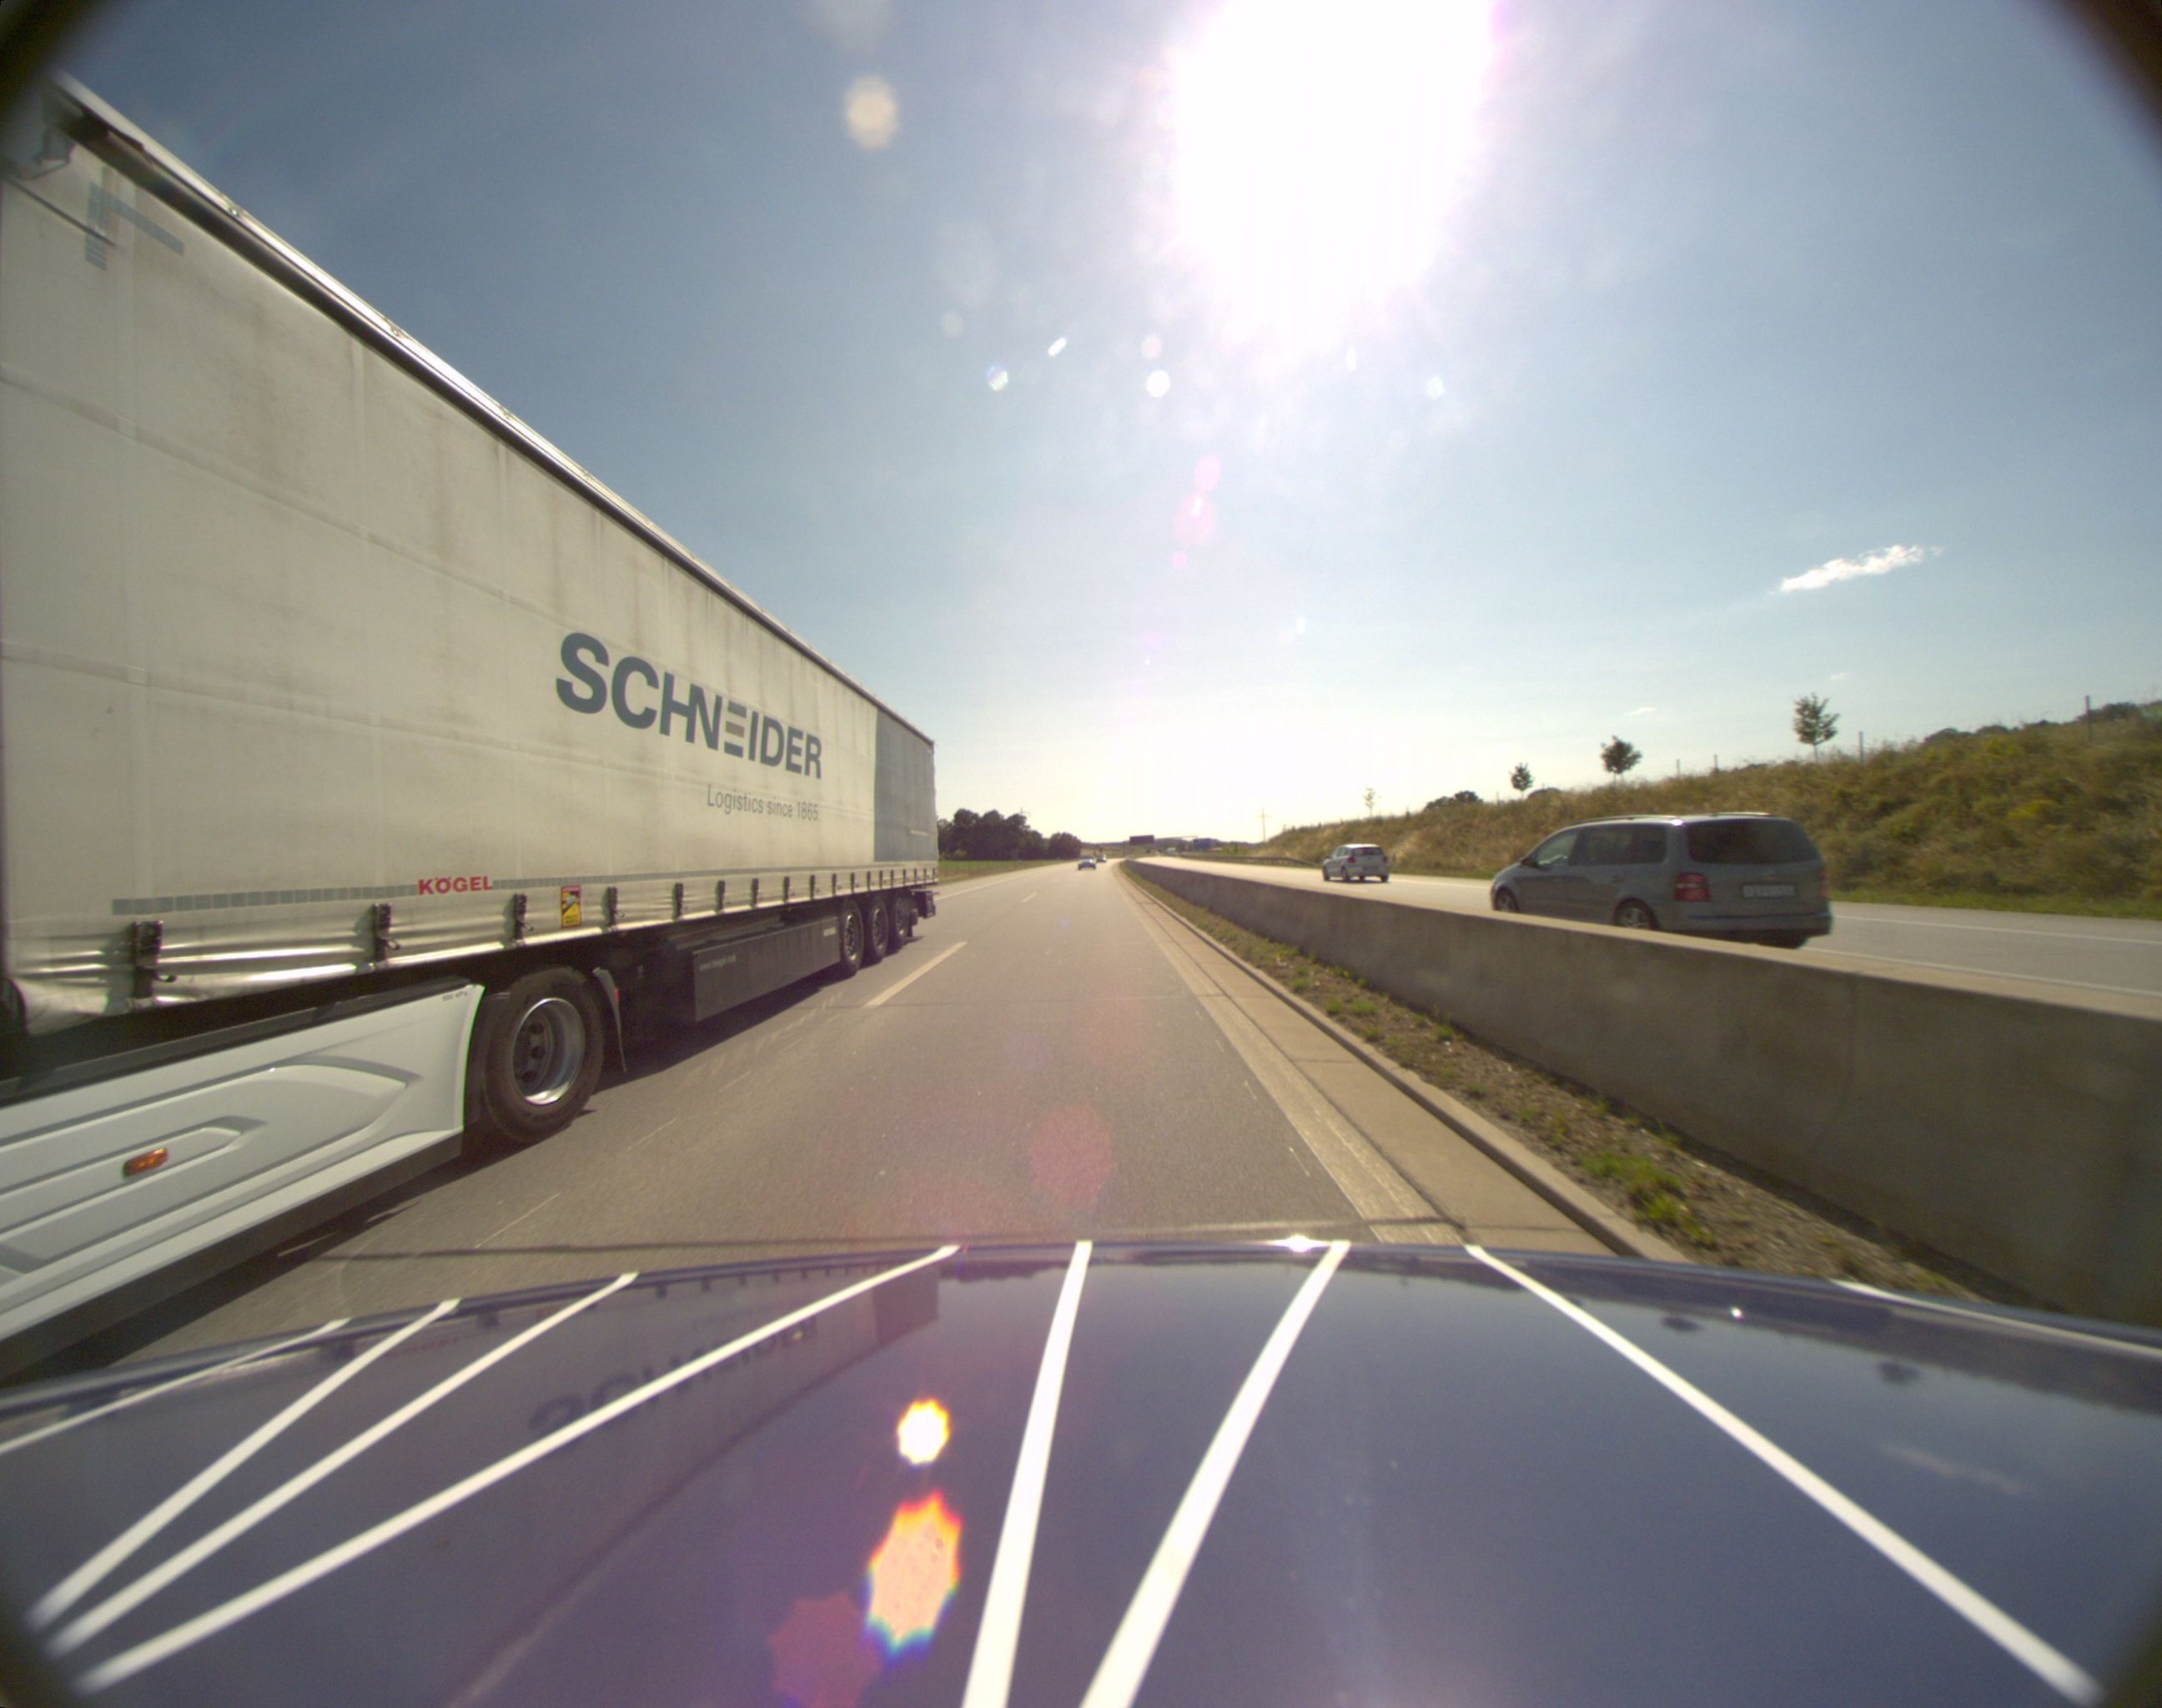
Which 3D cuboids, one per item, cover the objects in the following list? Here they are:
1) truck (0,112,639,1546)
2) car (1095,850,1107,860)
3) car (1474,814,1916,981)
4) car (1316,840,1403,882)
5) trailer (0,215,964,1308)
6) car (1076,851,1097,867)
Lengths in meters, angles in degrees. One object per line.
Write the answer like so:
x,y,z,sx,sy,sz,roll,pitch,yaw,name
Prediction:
-4.551,-0.057,1.828,3.090,3.991,6.188,-2,0,1,truck
3.548,0.127,133.904,1.891,1.565,3.793,-2,0,5,car
7.174,0.413,9.686,1.884,1.566,4.565,-2,0,-1,car
10.983,0.252,30.329,1.884,1.493,4.565,-2,0,1,car
-4.551,-0.362,10.724,3.184,4.269,15.458,-1,0,1,trailer
0.597,0.527,78.887,1.891,1.565,3.793,-2,0,5,car
